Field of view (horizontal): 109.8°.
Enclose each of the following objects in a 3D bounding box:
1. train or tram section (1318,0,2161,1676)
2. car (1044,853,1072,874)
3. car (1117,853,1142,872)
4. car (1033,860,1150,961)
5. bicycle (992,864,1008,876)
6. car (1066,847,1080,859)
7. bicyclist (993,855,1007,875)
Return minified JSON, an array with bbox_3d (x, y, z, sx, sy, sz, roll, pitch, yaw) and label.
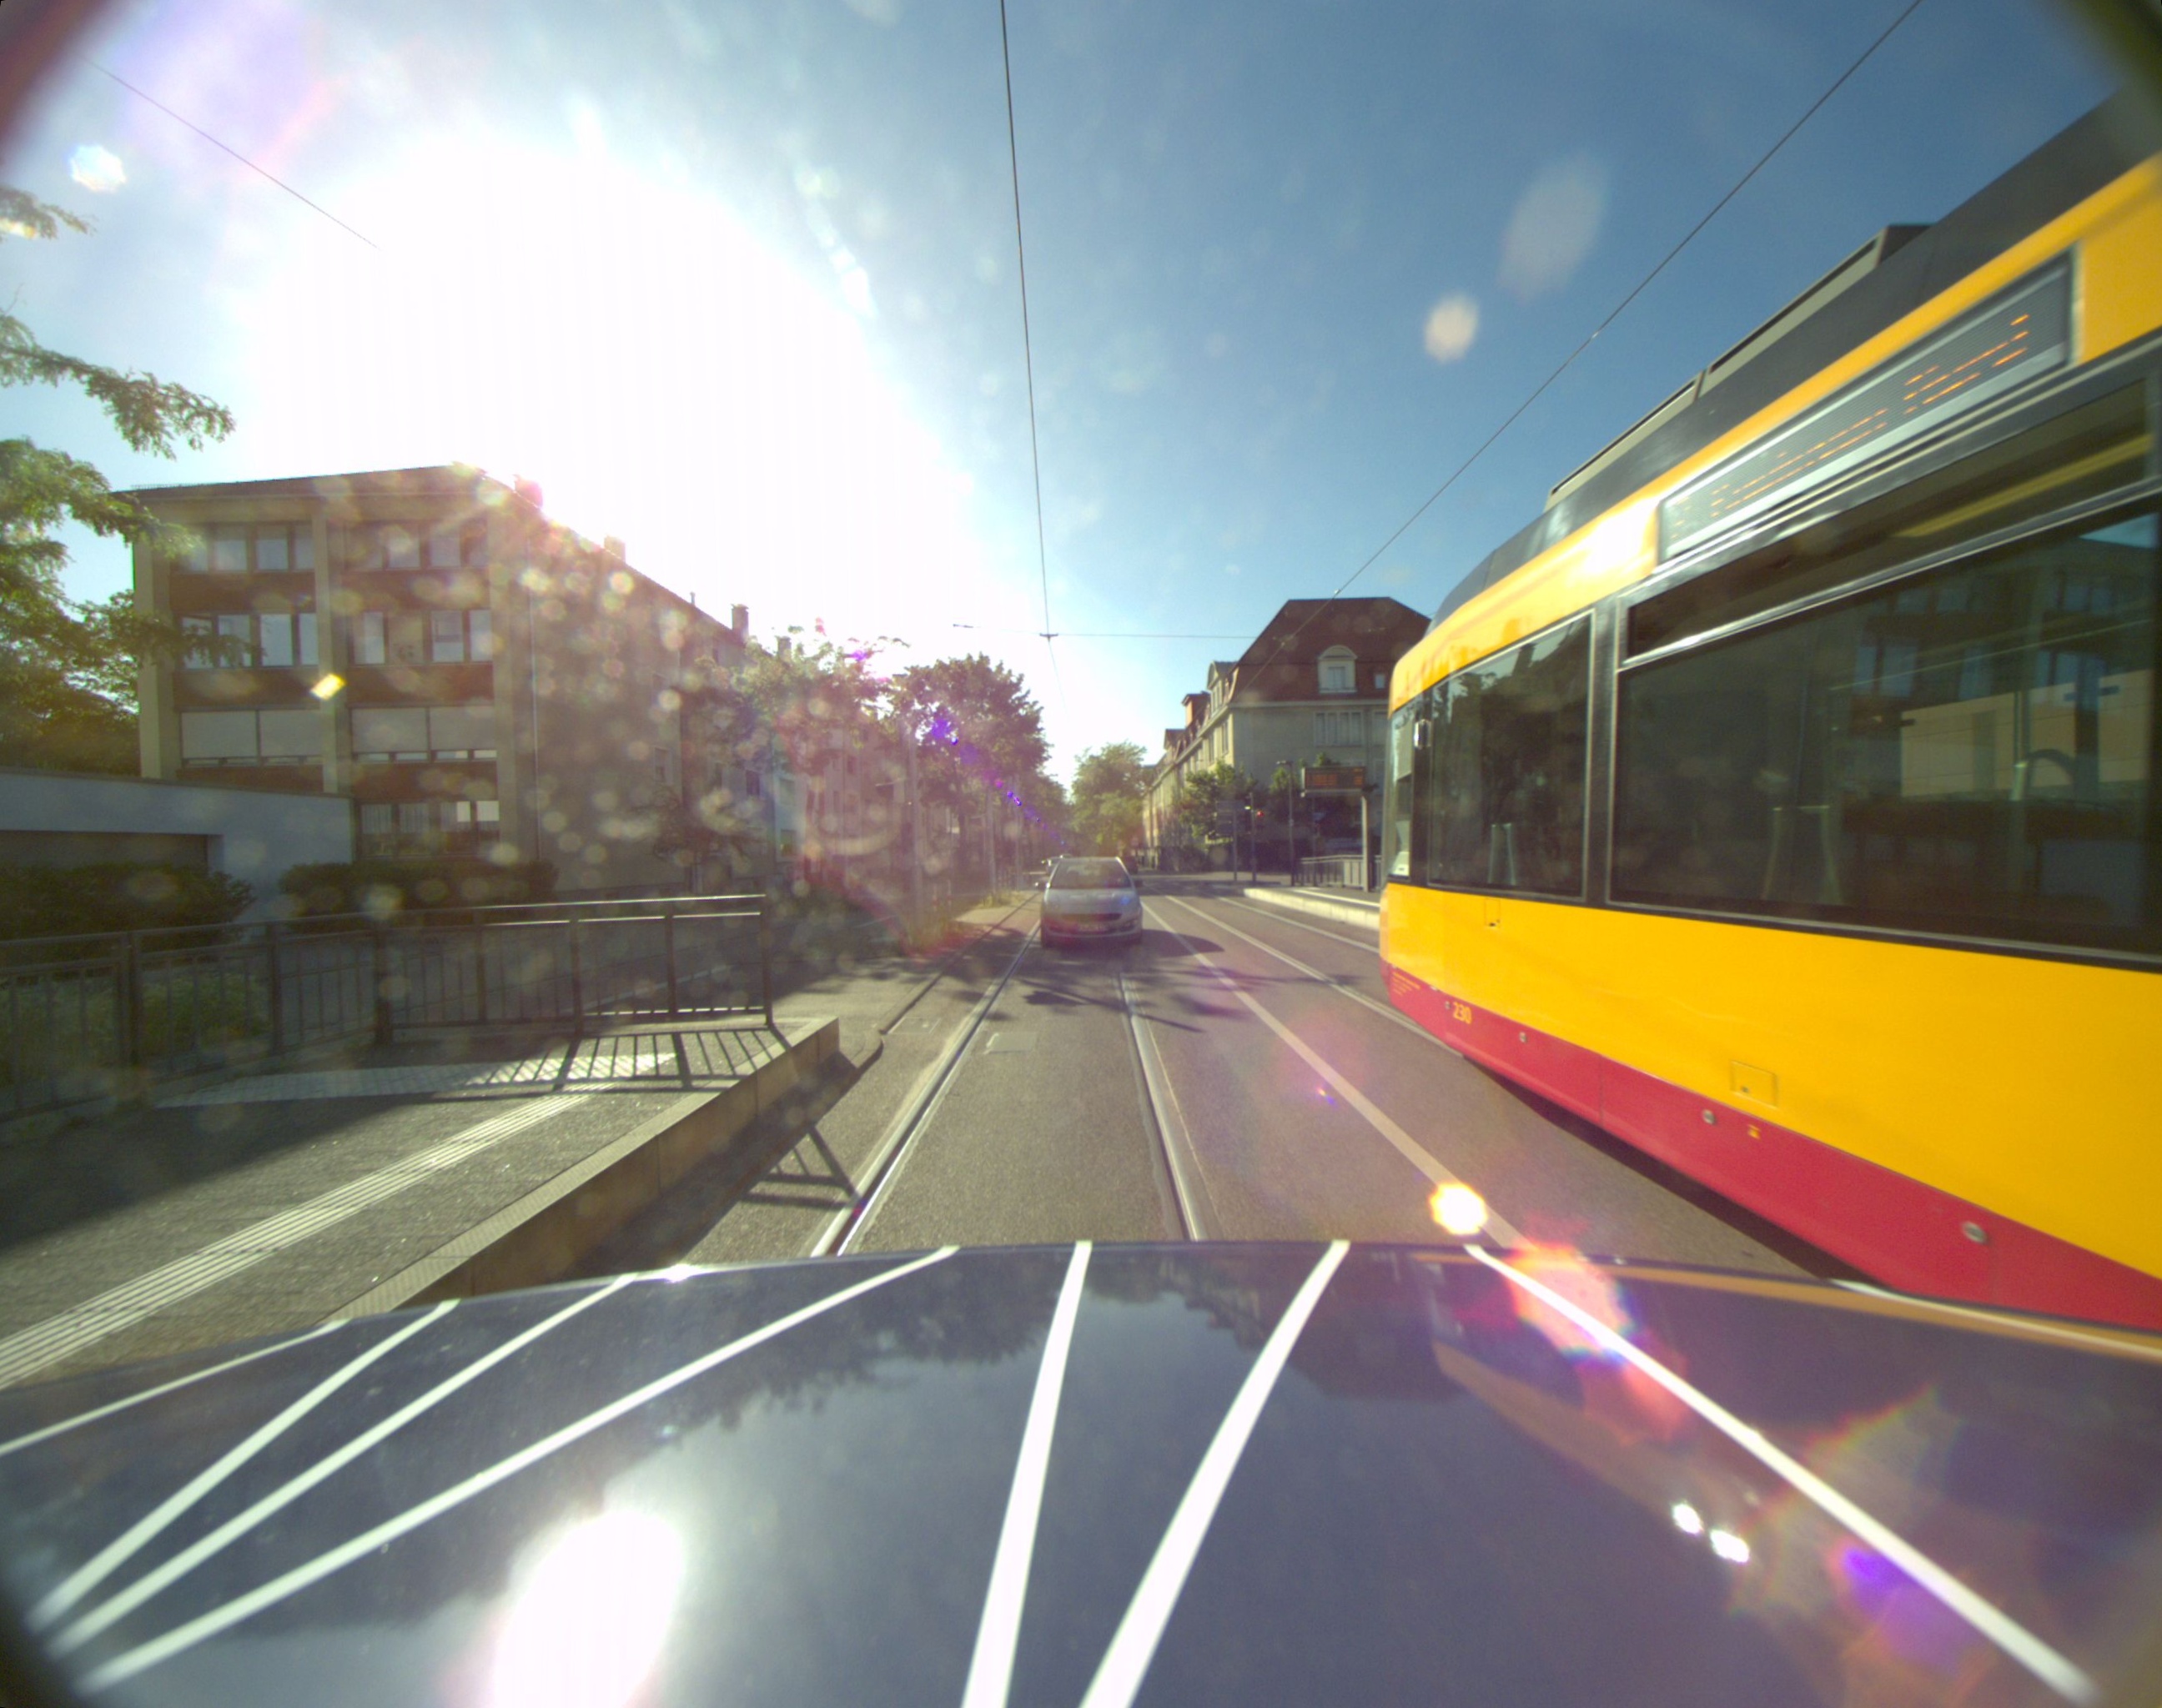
[{"bbox_3d":[3.457,-0.189,3.235,2.811,3.439,6.668,-2,0,1],"label":"train or tram section"},{"bbox_3d":[-1.766,0.711,57.192,1.743,1.450,3.691,-1,0,-8],"label":"car"},{"bbox_3d":[3.848,0.666,61.124,1.742,1.450,4.405,-1,0,0],"label":"car"},{"bbox_3d":[0.185,0.878,13.412,1.742,1.450,3.693,-1,0,1],"label":"car"},{"bbox_3d":[-6.318,1.251,59.522,0.826,0.880,2.199,-1,0,4],"label":"bicycle"},{"bbox_3d":[-1.287,-0.118,117.732,1.825,1.751,3.692,-3,0,-3],"label":"car"},{"bbox_3d":[-6.331,0.839,59.441,0.818,1.491,1.258,-1,0,4],"label":"bicyclist"}]
